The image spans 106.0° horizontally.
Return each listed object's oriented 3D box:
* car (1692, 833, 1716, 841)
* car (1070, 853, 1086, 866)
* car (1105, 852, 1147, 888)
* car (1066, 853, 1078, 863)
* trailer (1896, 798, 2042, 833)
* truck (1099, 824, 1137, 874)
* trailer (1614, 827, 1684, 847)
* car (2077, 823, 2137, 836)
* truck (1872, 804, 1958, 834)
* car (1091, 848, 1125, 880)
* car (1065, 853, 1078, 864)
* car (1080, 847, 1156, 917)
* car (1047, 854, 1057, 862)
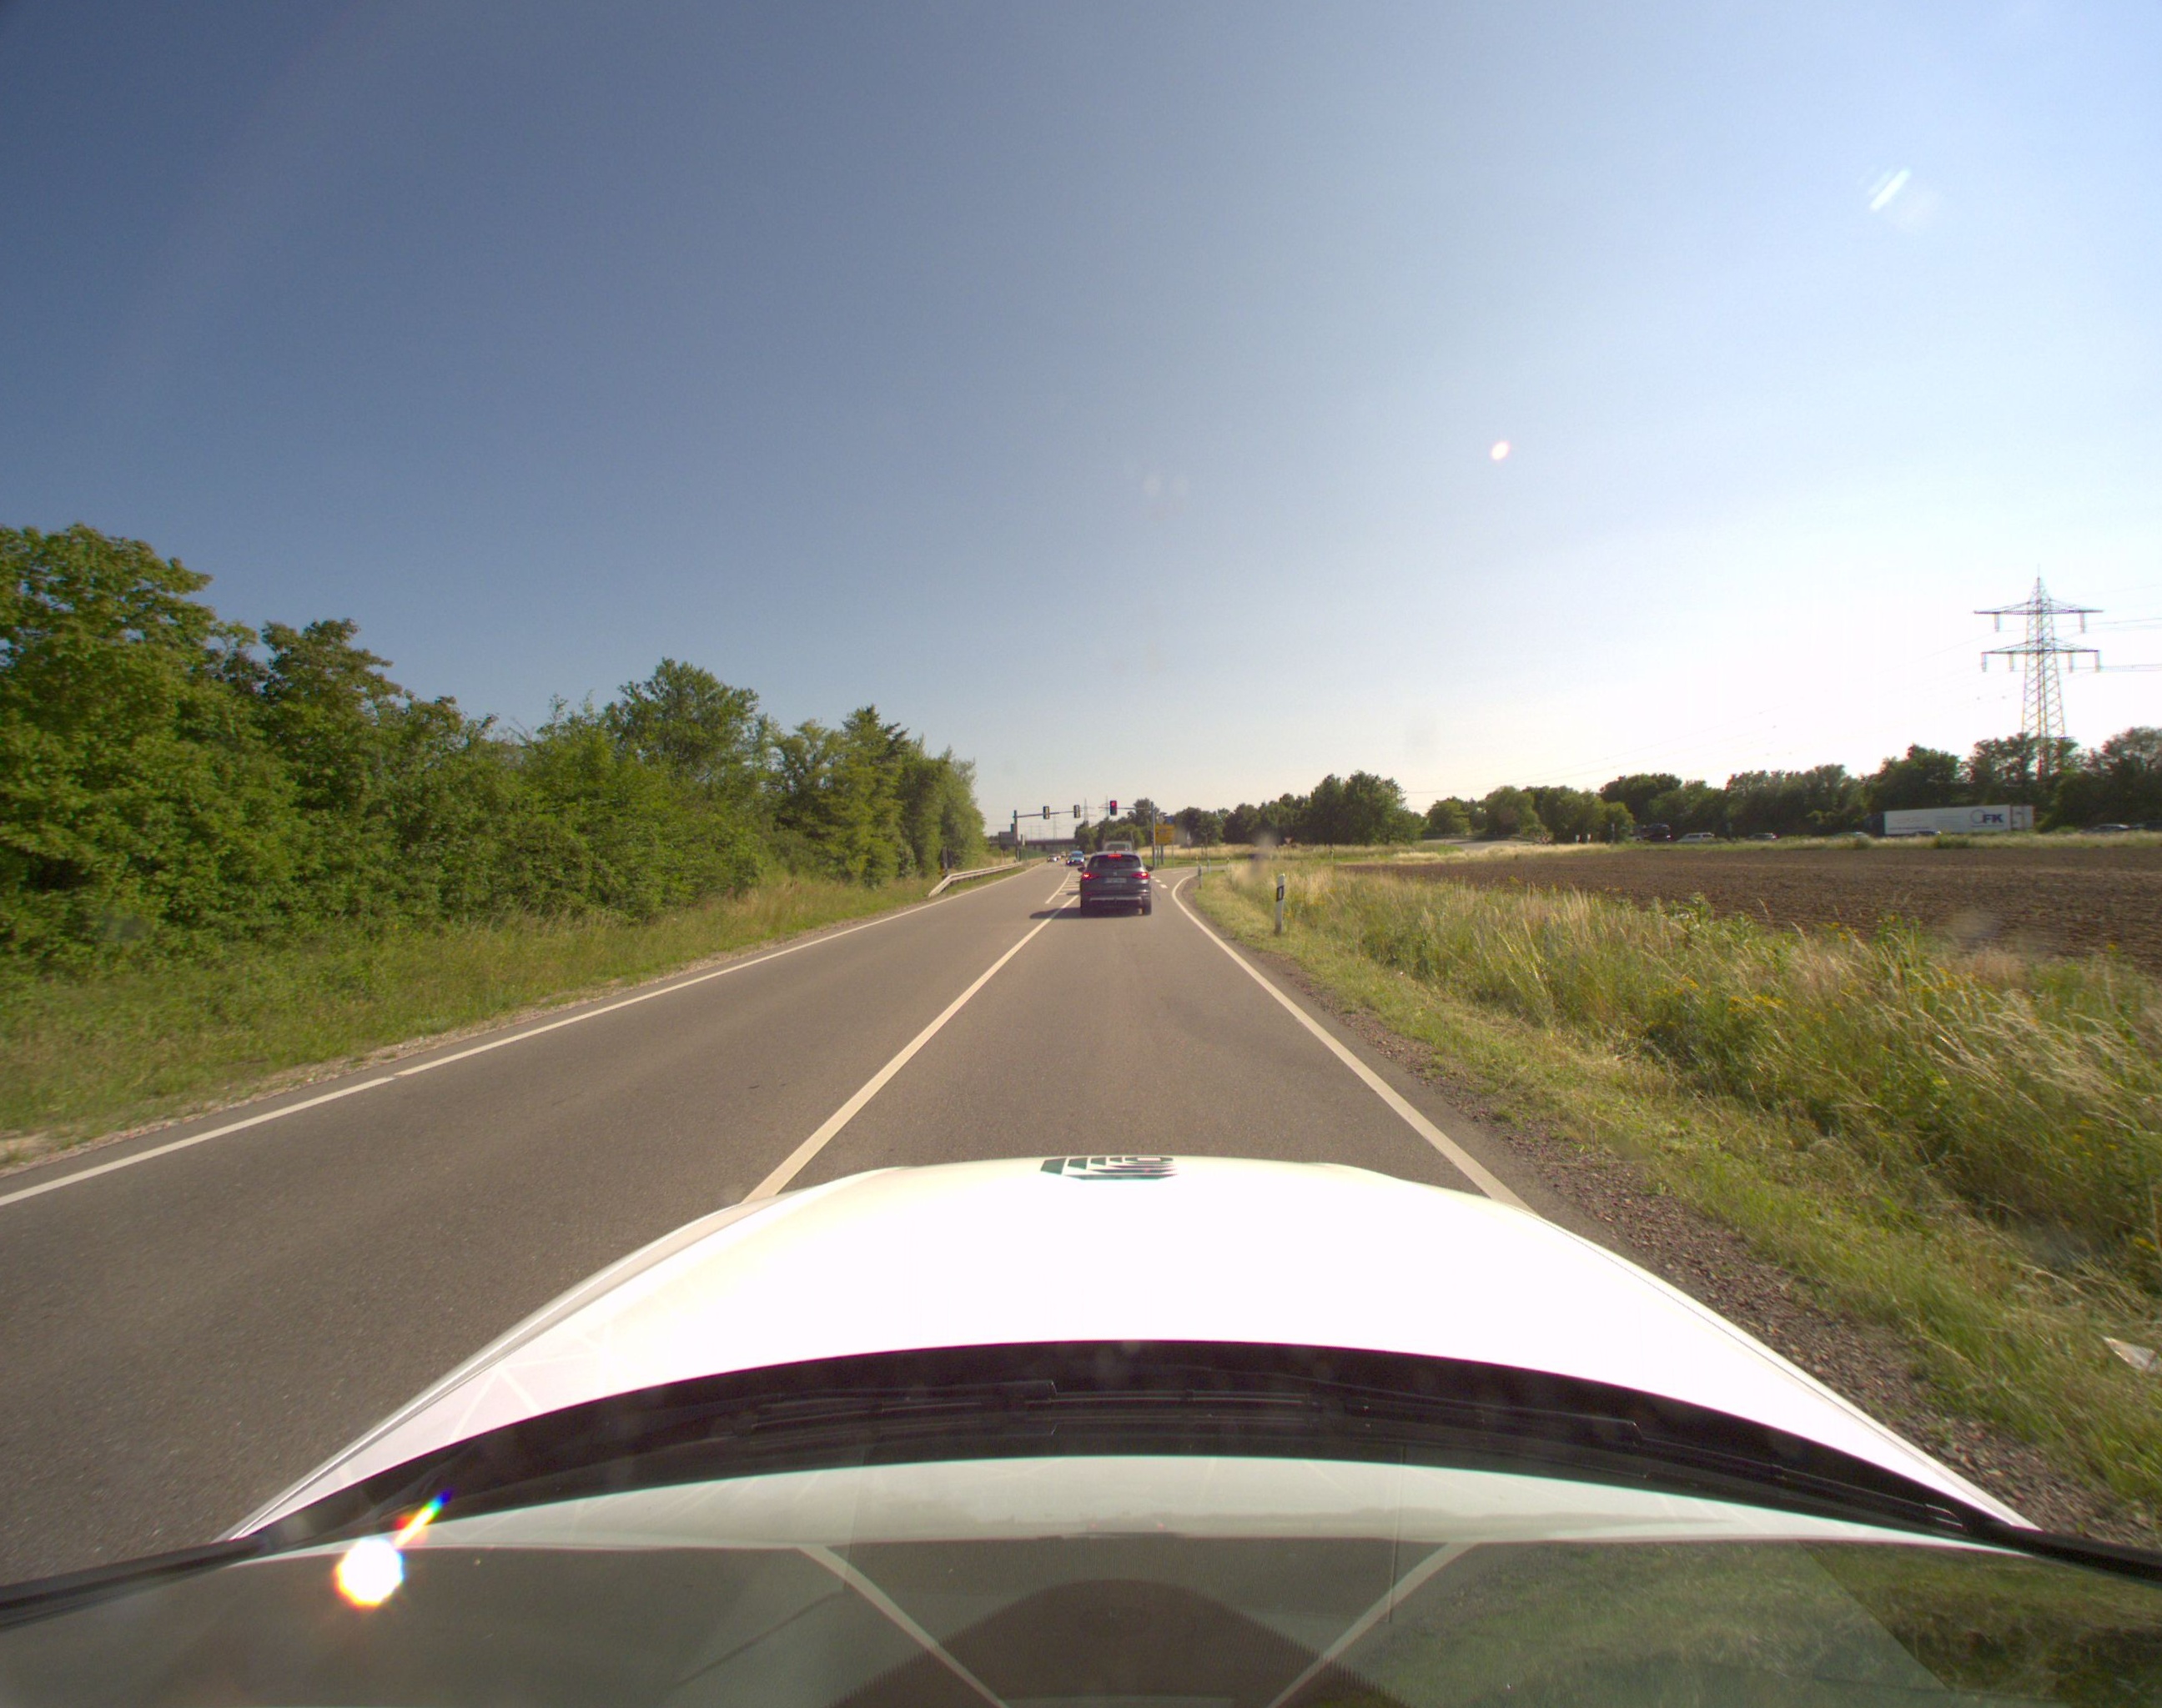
[{"bbox_3d":[94.925,-2.529,124.141,1.389,1.151,3.182,-1,1,1],"label":"car"},{"bbox_3d":[-0.382,0.628,97.398,1.812,1.540,3.996,-2,0,-2],"label":"car"},{"bbox_3d":[2.064,0.724,38.391,1.779,1.543,4.001,-2,0,1],"label":"car"},{"bbox_3d":[-1.300,0.625,118.080,1.680,1.380,3.530,-1,0,-2],"label":"car"},{"bbox_3d":[102.315,-4.295,94.347,3.273,3.267,12.455,-2,0,0],"label":"trailer"},{"bbox_3d":[2.431,-0.275,53.372,2.328,3.066,5.812,-1,-1,2],"label":"truck"},{"bbox_3d":[101.963,-3.018,146.635,3.273,3.267,13.453,-2,1,0],"label":"trailer"},{"bbox_3d":[101.238,-2.427,80.402,1.390,1.151,3.580,-1,1,-1],"label":"car"},{"bbox_3d":[102.340,-4.283,100.107,3.274,3.267,6.978,-2,0,0],"label":"truck"},{"bbox_3d":[1.464,0.520,45.634,1.779,1.675,4.001,-2,0,1],"label":"car"},{"bbox_3d":[-1.298,0.636,109.671,1.680,1.380,3.530,-1,0,-2],"label":"car"},{"bbox_3d":[0.935,0.667,21.505,1.779,1.629,4.001,-2,0,1],"label":"car"},{"bbox_3d":[-5.379,0.715,150.671,1.820,1.431,3.996,-2,0,-3],"label":"car"}]
